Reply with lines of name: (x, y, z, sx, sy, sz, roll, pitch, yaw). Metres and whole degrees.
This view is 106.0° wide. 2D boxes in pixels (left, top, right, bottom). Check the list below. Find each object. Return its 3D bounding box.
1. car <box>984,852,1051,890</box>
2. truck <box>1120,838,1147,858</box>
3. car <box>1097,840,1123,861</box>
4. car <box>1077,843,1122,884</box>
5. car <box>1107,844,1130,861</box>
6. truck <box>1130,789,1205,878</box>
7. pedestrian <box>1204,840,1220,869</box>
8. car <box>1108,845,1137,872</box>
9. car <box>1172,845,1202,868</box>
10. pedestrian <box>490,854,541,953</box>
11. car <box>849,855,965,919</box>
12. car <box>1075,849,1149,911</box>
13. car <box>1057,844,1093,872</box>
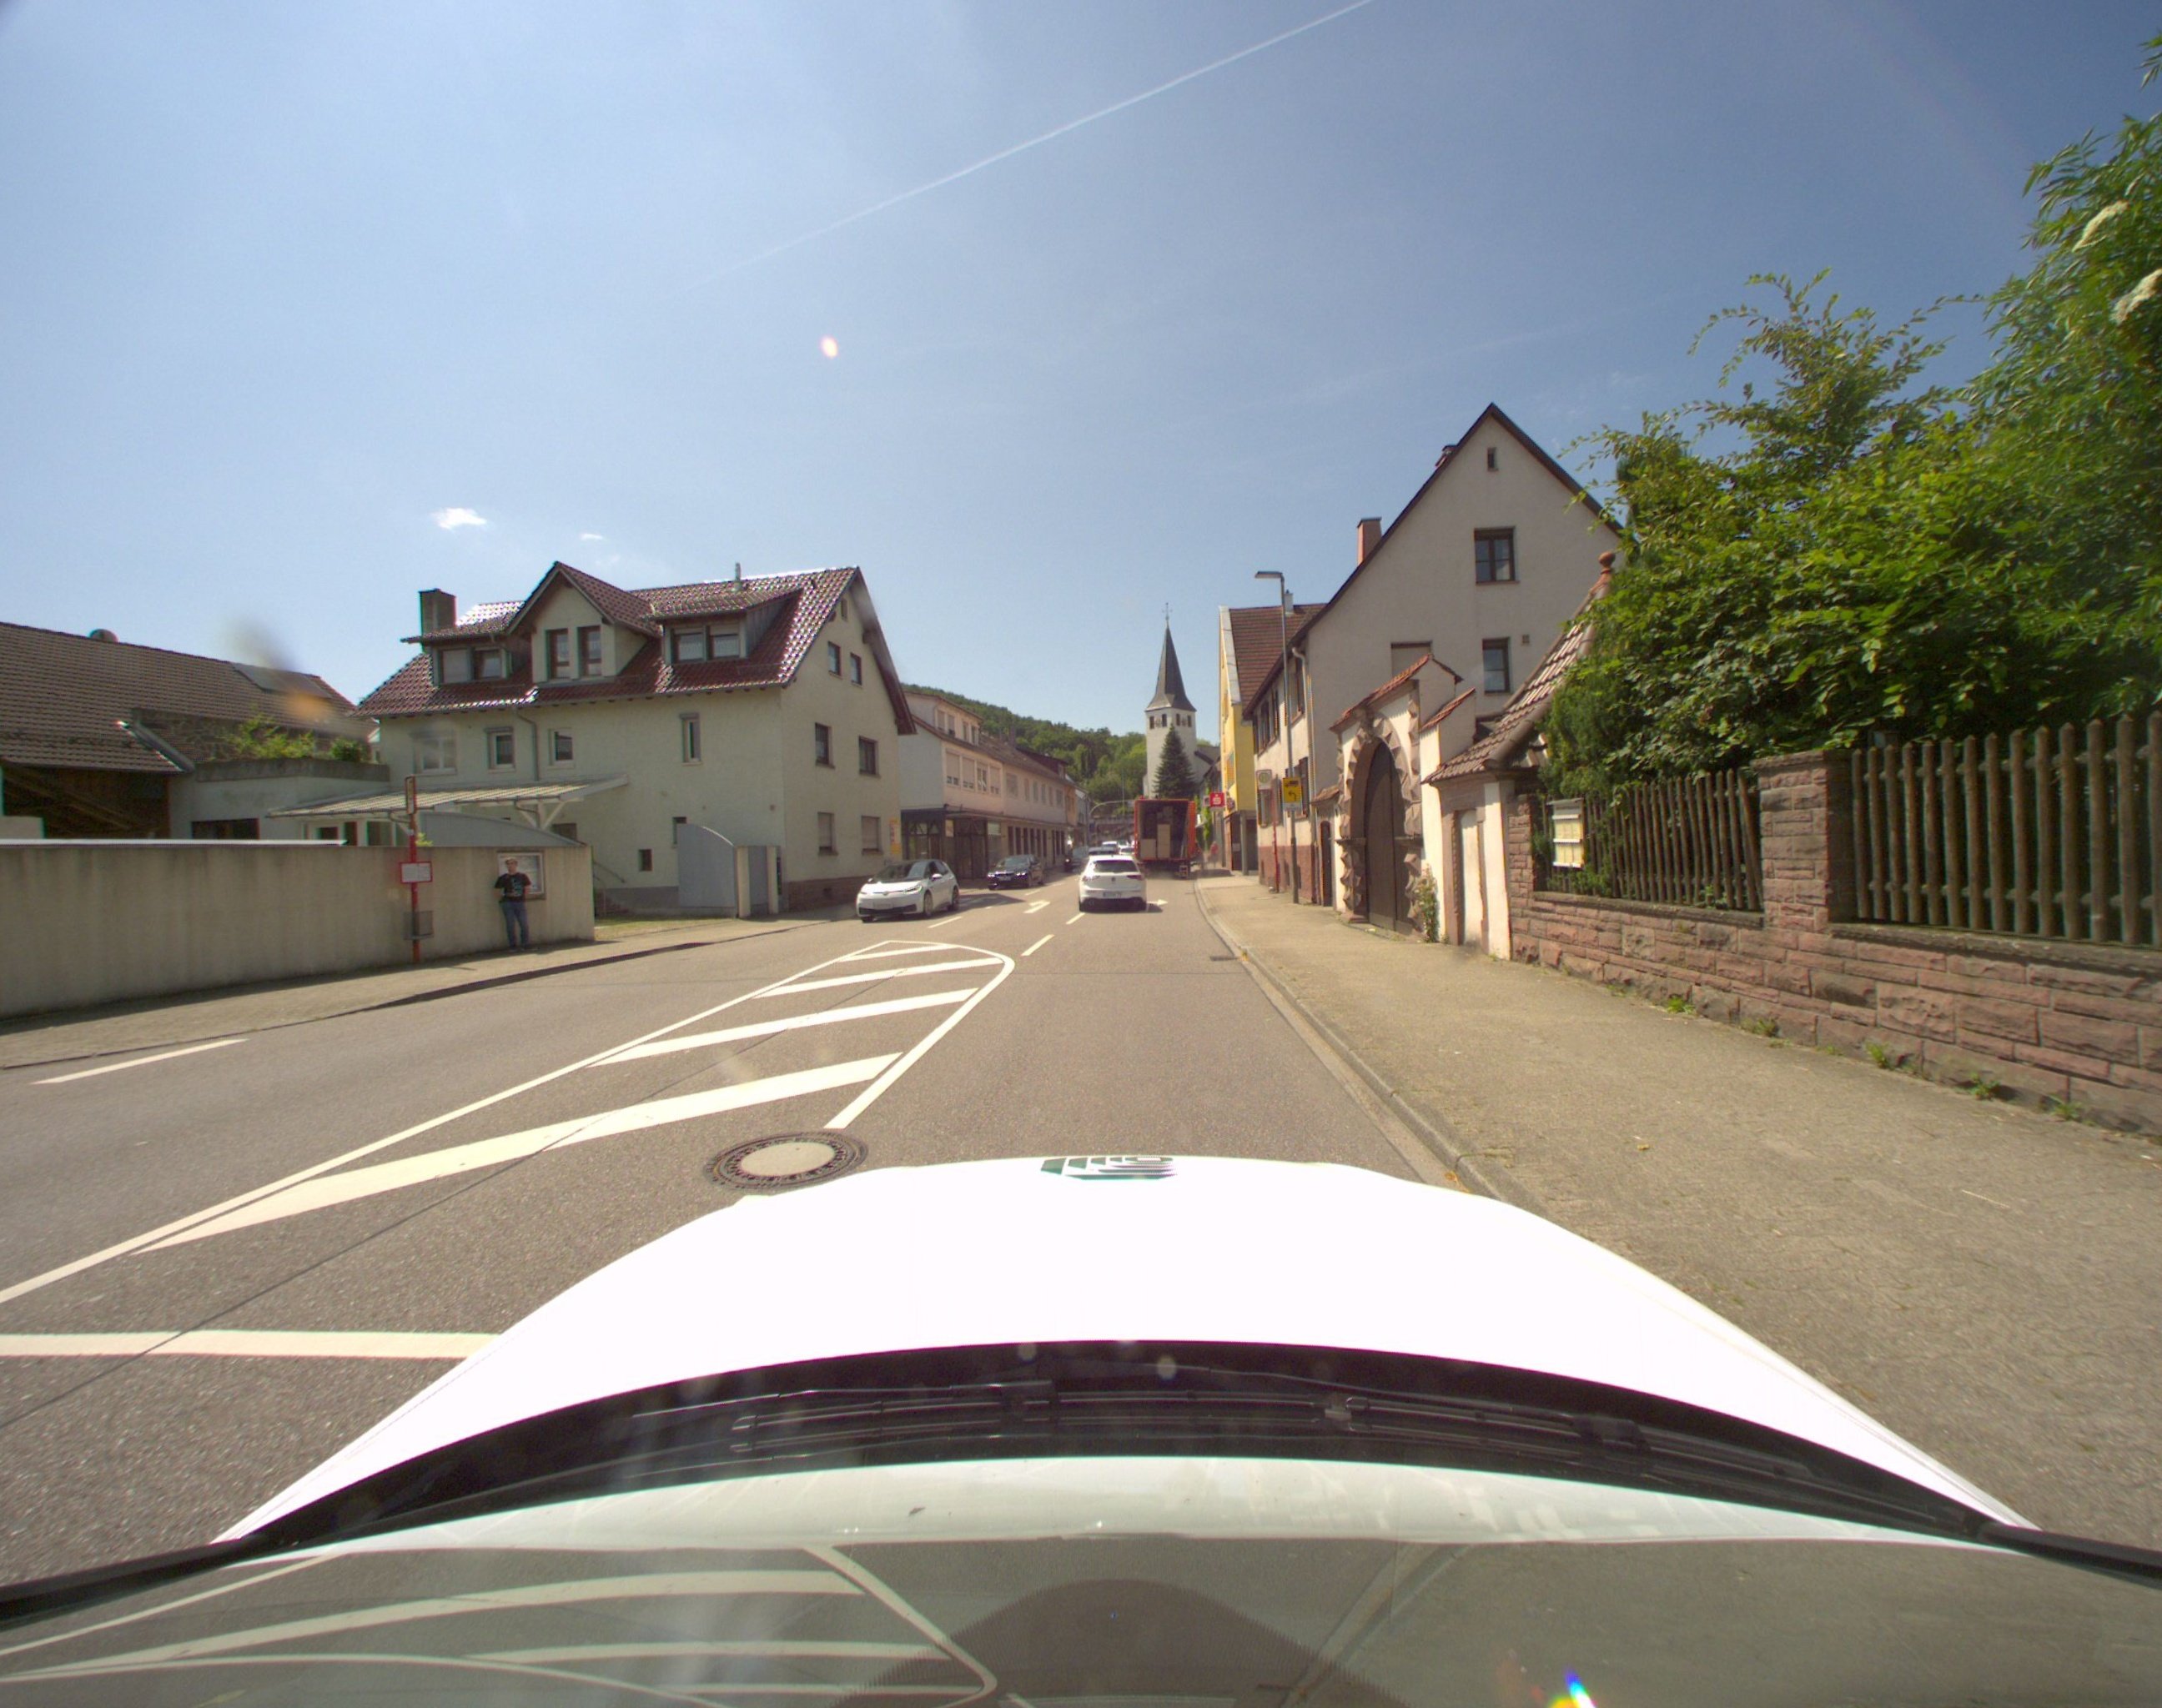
car: (-2.713, 0.708, 35.894, 1.782, 1.493, 4.434, -3, -1, 10)
truck: (6.909, -0.748, 106.332, 2.101, 2.474, 5.762, -3, -1, 17)
car: (2.730, -0.341, 75.141, 1.791, 1.779, 4.716, -3, 0, 8)
car: (0.879, 0.419, 36.138, 1.808, 1.628, 4.003, -3, -1, 3)
car: (4.124, -0.140, 88.805, 1.982, 1.651, 4.010, -3, -1, 9)
truck: (4.620, -0.970, 44.252, 3.351, 4.170, 9.532, -3, -1, 5)
pedestrian: (8.133, 0.007, 50.458, 0.766, 1.742, 0.871, -3, -1, 1)
car: (2.789, 0.295, 54.577, 1.808, 1.628, 4.003, -3, -1, 3)
car: (7.677, 0.162, 59.195, 1.808, 1.519, 4.003, -3, -1, 3)
pedestrian: (-10.358, 0.901, 14.920, 0.430, 1.764, 0.560, -3, 0, 21)
car: (-4.635, 0.830, 22.346, 1.786, 1.508, 4.142, -3, -1, 7)
car: (0.875, 0.659, 22.333, 1.808, 1.519, 4.003, -1, 0, 3)
car: (-0.376, 0.238, 54.941, 1.681, 1.698, 4.123, -3, 1, 9)
